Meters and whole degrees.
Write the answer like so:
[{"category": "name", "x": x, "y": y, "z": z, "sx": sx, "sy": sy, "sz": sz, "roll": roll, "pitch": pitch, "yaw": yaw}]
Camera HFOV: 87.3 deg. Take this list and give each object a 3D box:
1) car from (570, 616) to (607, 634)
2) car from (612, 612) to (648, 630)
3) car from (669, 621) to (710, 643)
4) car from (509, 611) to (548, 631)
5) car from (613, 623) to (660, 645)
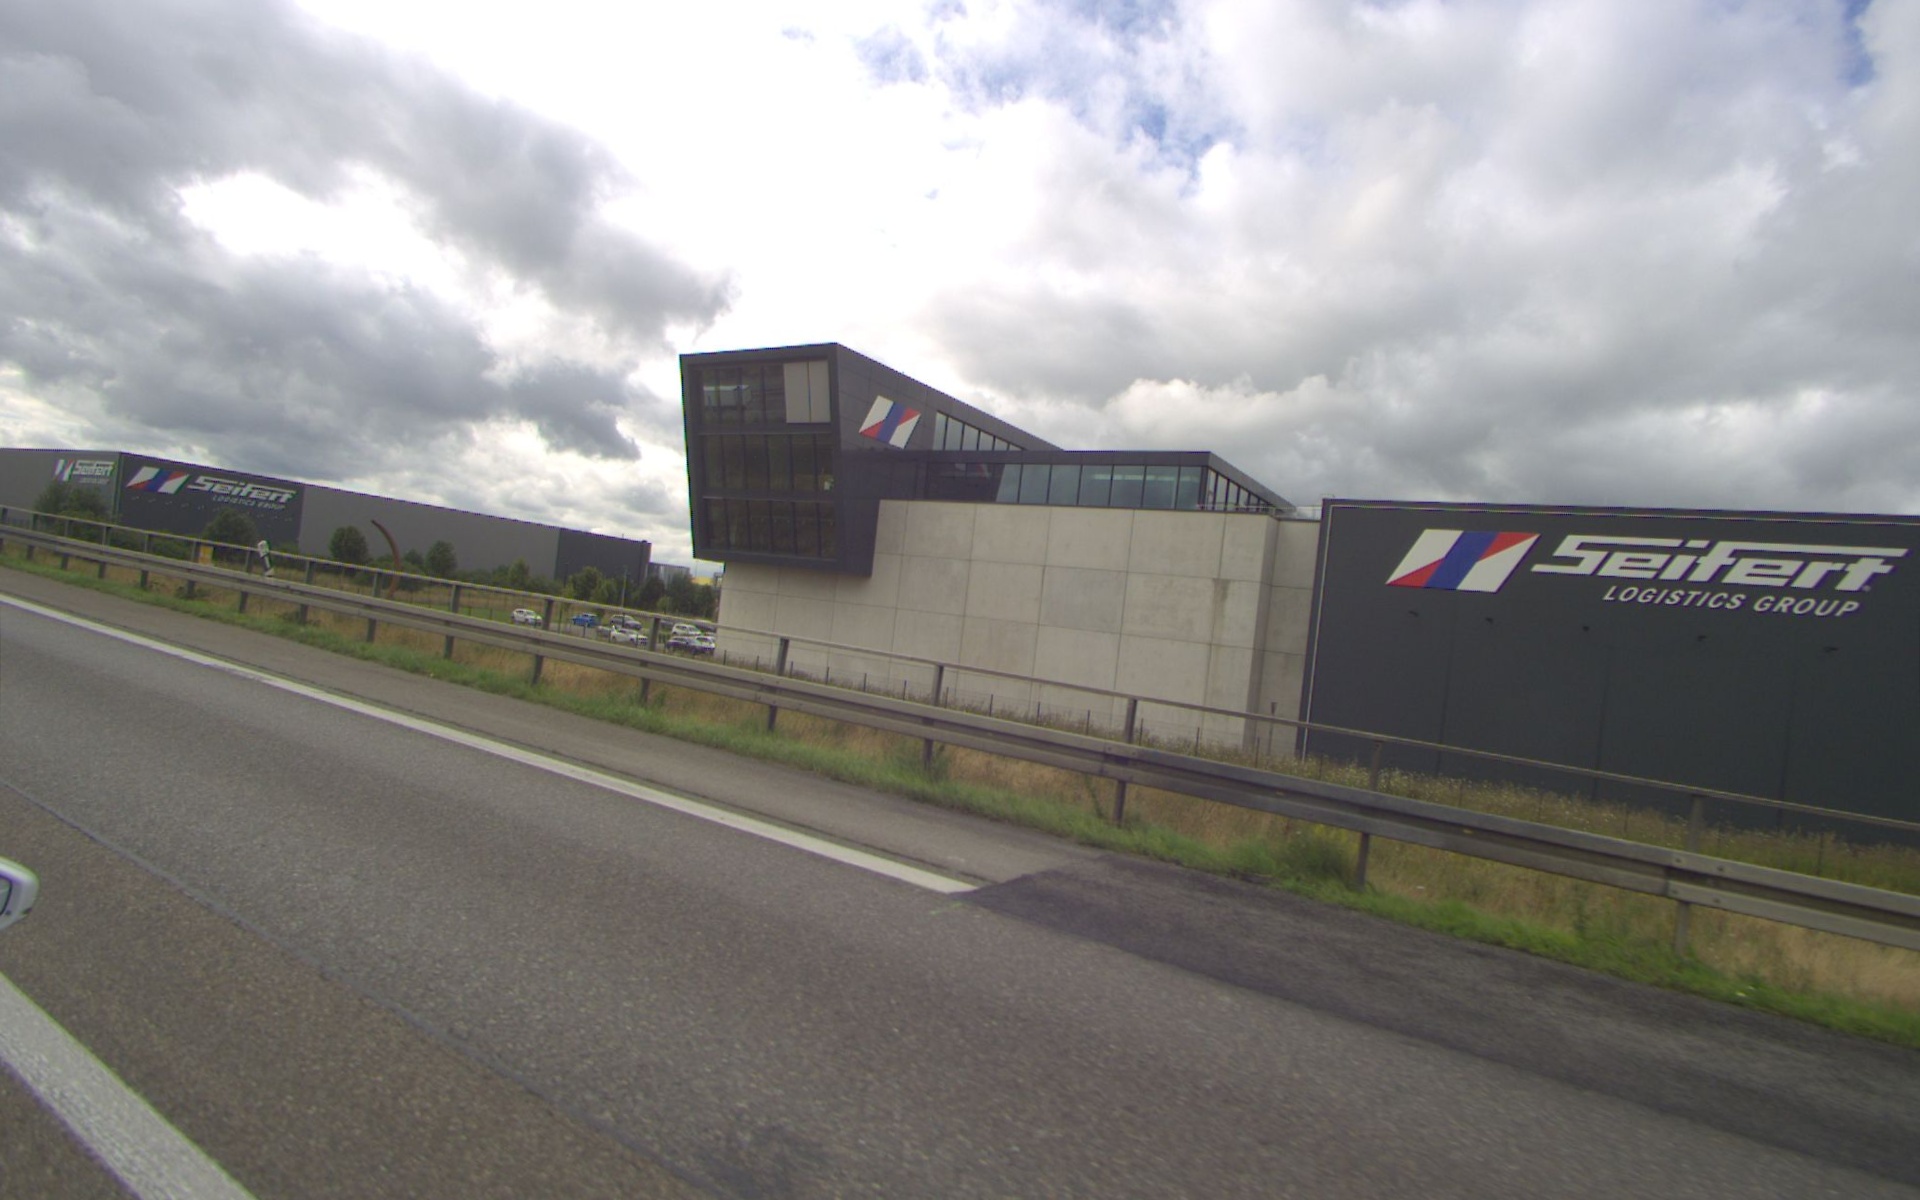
[{"category": "car", "x": -41.678, "y": 2.796, "z": 112.922, "sx": 3.933, "sy": 1.511, "sz": 1.679, "roll": 7, "pitch": -2, "yaw": 31}, {"category": "car", "x": -38.225, "y": 2.433, "z": 116.631, "sx": 3.933, "sy": 1.511, "sz": 1.679, "roll": 7, "pitch": -2, "yaw": 31}, {"category": "car", "x": -29.743, "y": 3.532, "z": 110.622, "sx": 4.395, "sy": 1.721, "sz": 1.679, "roll": 7, "pitch": -2, "yaw": 31}, {"category": "car", "x": -45.495, "y": 2.219, "z": 105.978, "sx": 3.933, "sy": 1.511, "sz": 1.679, "roll": 7, "pitch": -2, "yaw": 31}, {"category": "car", "x": -31.250, "y": 3.277, "z": 97.094, "sx": 4.488, "sy": 1.511, "sz": 1.679, "roll": 7, "pitch": -2, "yaw": 31}]
